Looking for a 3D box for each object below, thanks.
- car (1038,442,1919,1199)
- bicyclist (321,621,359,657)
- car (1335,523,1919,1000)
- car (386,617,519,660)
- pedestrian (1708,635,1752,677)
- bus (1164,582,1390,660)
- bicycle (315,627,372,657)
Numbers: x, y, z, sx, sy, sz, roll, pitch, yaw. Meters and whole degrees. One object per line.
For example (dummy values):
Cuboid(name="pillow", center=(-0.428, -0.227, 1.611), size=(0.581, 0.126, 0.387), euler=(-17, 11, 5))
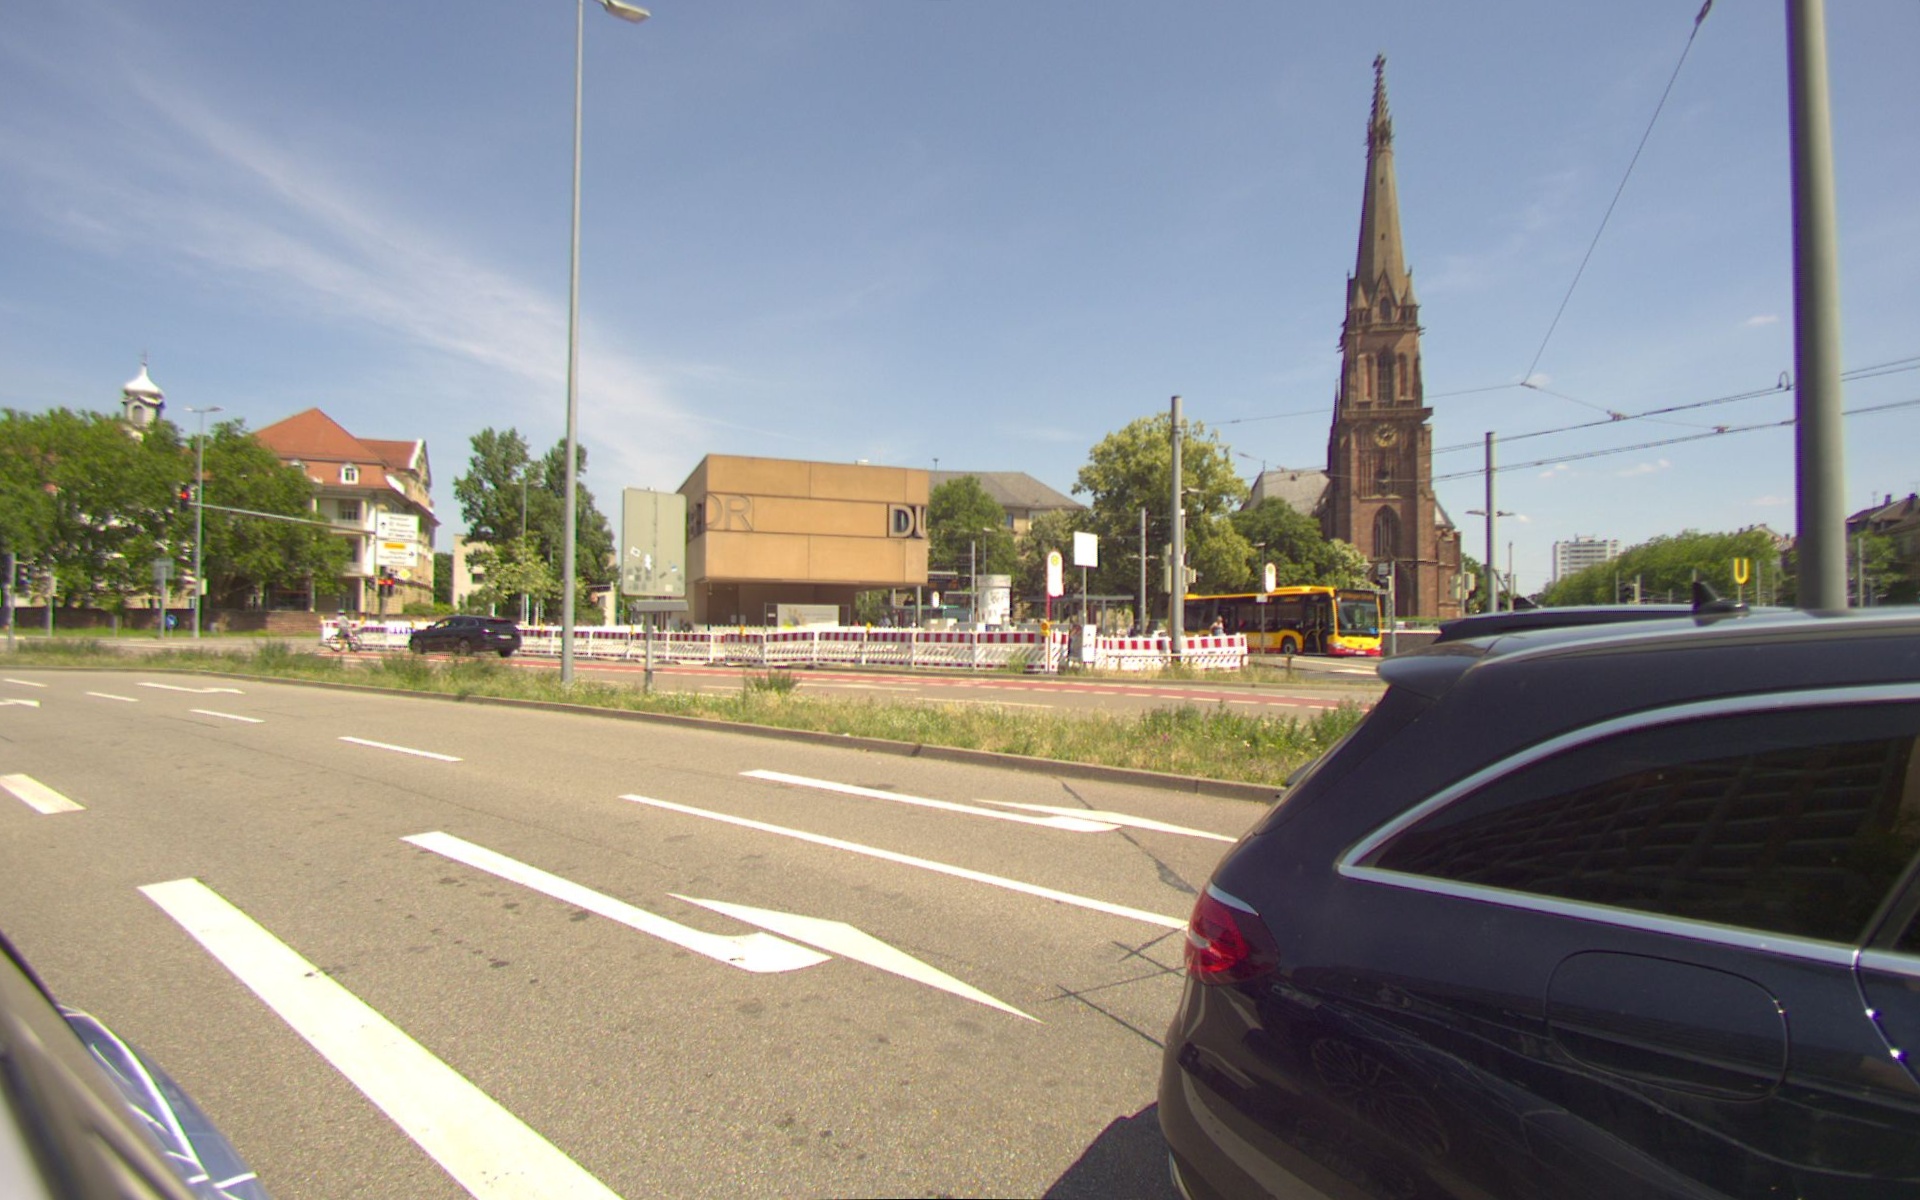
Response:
Cuboid(name="car", center=(2.504, 0.644, 0.818), size=(4.804, 1.653, 1.778), euler=(-1, -1, 43))
Cuboid(name="bicyclist", center=(-23.898, 1.487, 38.991), size=(1.432, 1.366, 0.581), euler=(0, 0, 27))
Cuboid(name="car", center=(3.704, 0.559, 4.098), size=(3.737, 1.588, 1.725), euler=(-1, -2, 43))
Cuboid(name="car", center=(-18.446, 1.362, 36.741), size=(4.826, 1.476, 1.980), euler=(-1, -2, 30))
Cuboid(name="pedestrian", center=(25.329, 1.820, 33.308), size=(0.518, 1.344, 1.001), euler=(1, -2, -16))
Cuboid(name="bus", center=(13.725, 1.002, 45.707), size=(2.807, 3.039, 12.259), euler=(1, -2, -20))
Cuboid(name="bicycle", center=(-23.775, 1.589, 39.011), size=(2.221, 1.080, 0.871), euler=(0, 0, 27))
